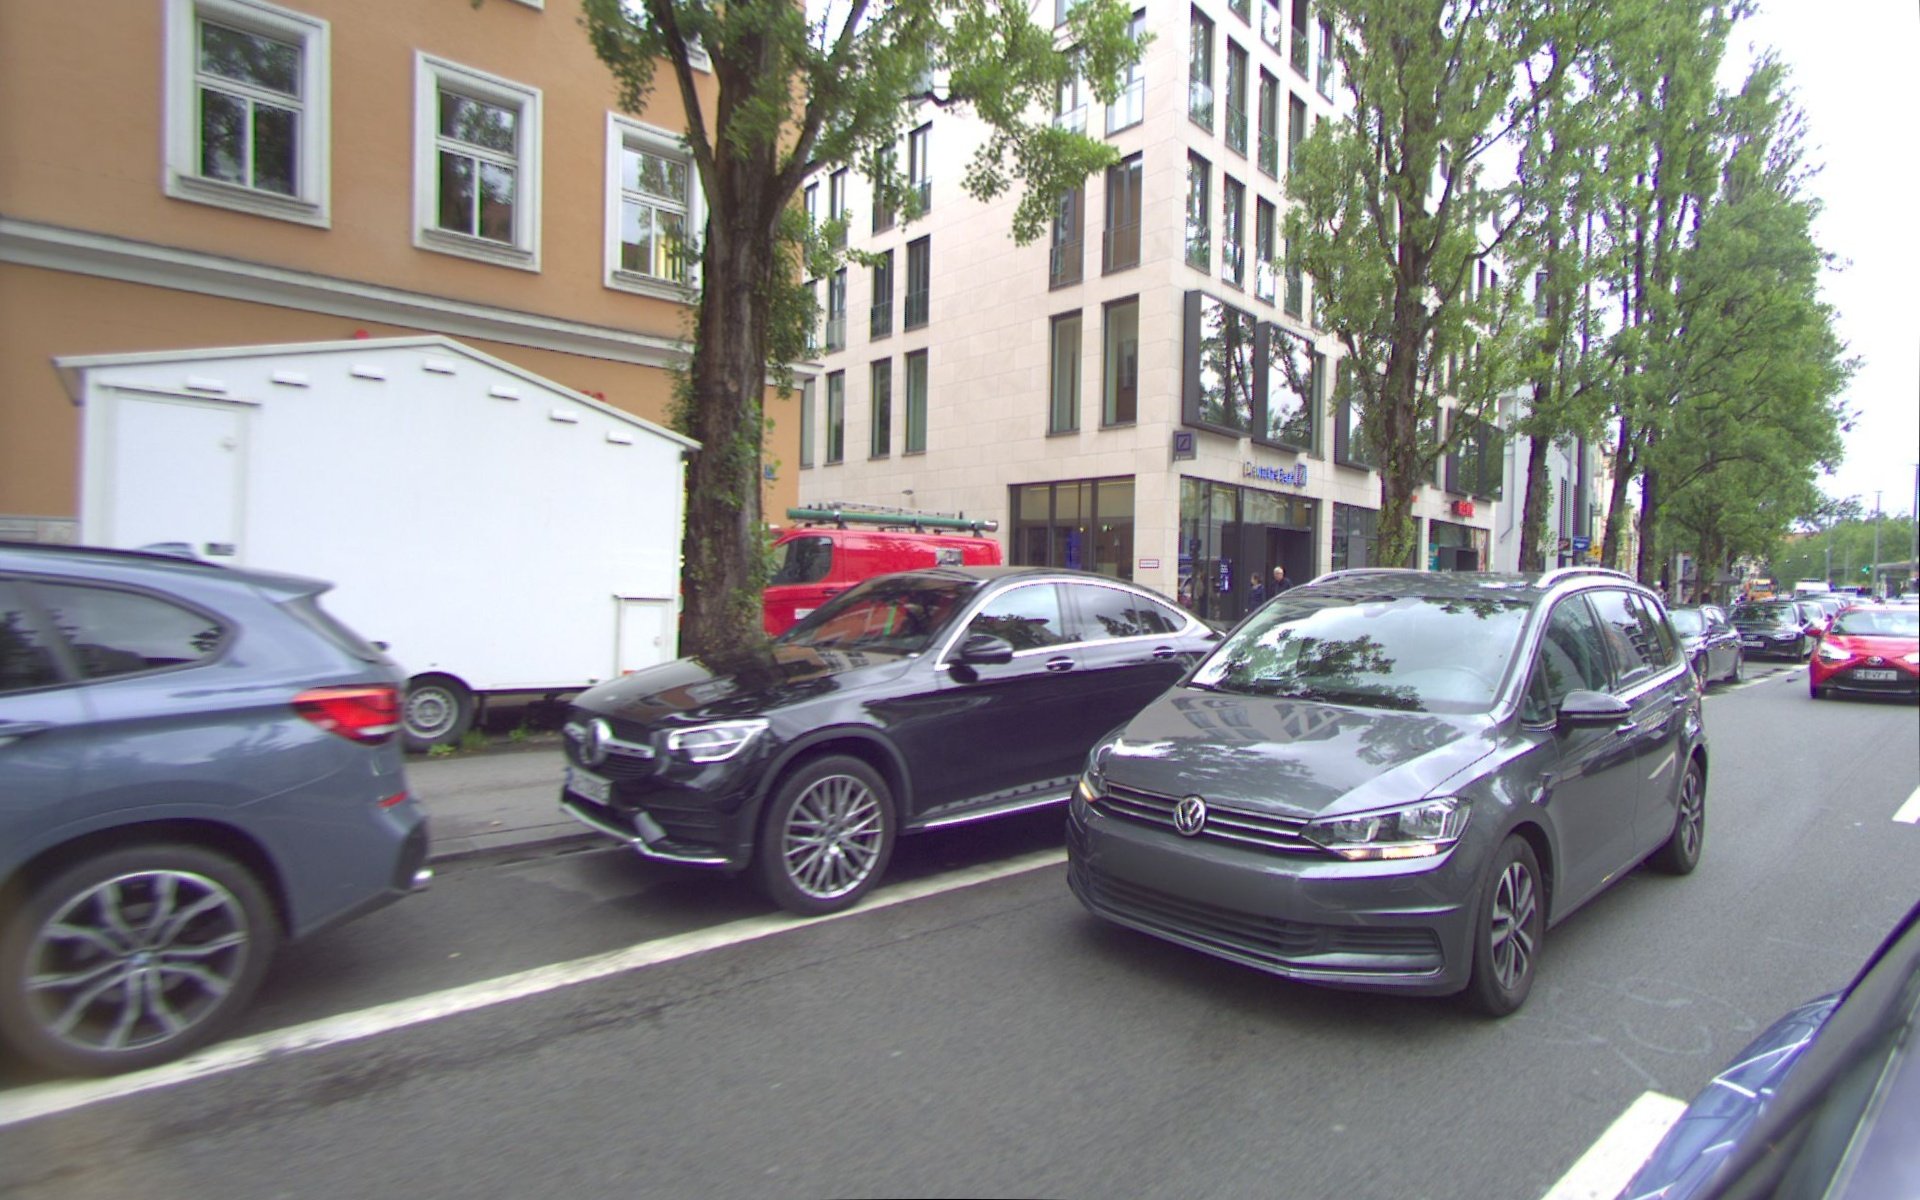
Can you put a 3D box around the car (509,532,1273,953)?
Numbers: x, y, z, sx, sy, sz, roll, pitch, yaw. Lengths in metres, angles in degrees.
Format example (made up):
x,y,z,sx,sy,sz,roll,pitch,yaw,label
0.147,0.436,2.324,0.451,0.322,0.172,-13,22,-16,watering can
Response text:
x,y,z,sx,sy,sz,roll,pitch,yaw,label
-0.112,0.539,6.072,4.421,1.634,1.787,0,1,-42,car

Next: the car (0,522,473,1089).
x,y,z,sx,sy,sz,roll,pitch,yaw,label
-3.982,0.560,2.828,4.421,1.572,1.787,0,1,-42,car

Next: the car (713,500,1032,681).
x,y,z,sx,sy,sz,roll,pitch,yaw,label
-1.144,-0.123,13.660,3.919,2.149,1.687,1,1,-29,car

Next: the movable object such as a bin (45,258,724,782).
x,y,z,sx,sy,sz,roll,pitch,yaw,label
-4.629,-0.539,8.536,4.463,3.175,2.445,0,3,-41,movable object such as a bin

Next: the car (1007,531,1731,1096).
x,y,z,sx,sy,sz,roll,pitch,yaw,label
2.311,0.593,5.024,4.124,1.611,1.879,0,1,-45,car

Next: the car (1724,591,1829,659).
x,y,z,sx,sy,sz,roll,pitch,yaw,label
20.167,0.551,24.947,1.696,1.535,3.937,0,0,44,car

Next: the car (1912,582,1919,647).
x,y,z,sx,sy,sz,roll,pitch,yaw,label
26.998,0.385,27.449,1.702,1.714,3.941,1,1,43,car

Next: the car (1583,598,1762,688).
x,y,z,sx,sy,sz,roll,pitch,yaw,label
12.441,0.662,17.592,3.934,1.378,1.698,0,1,-42,car

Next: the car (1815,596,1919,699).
x,y,z,sx,sy,sz,roll,pitch,yaw,label
14.880,0.667,15.950,3.934,1.451,1.615,0,1,-42,car
